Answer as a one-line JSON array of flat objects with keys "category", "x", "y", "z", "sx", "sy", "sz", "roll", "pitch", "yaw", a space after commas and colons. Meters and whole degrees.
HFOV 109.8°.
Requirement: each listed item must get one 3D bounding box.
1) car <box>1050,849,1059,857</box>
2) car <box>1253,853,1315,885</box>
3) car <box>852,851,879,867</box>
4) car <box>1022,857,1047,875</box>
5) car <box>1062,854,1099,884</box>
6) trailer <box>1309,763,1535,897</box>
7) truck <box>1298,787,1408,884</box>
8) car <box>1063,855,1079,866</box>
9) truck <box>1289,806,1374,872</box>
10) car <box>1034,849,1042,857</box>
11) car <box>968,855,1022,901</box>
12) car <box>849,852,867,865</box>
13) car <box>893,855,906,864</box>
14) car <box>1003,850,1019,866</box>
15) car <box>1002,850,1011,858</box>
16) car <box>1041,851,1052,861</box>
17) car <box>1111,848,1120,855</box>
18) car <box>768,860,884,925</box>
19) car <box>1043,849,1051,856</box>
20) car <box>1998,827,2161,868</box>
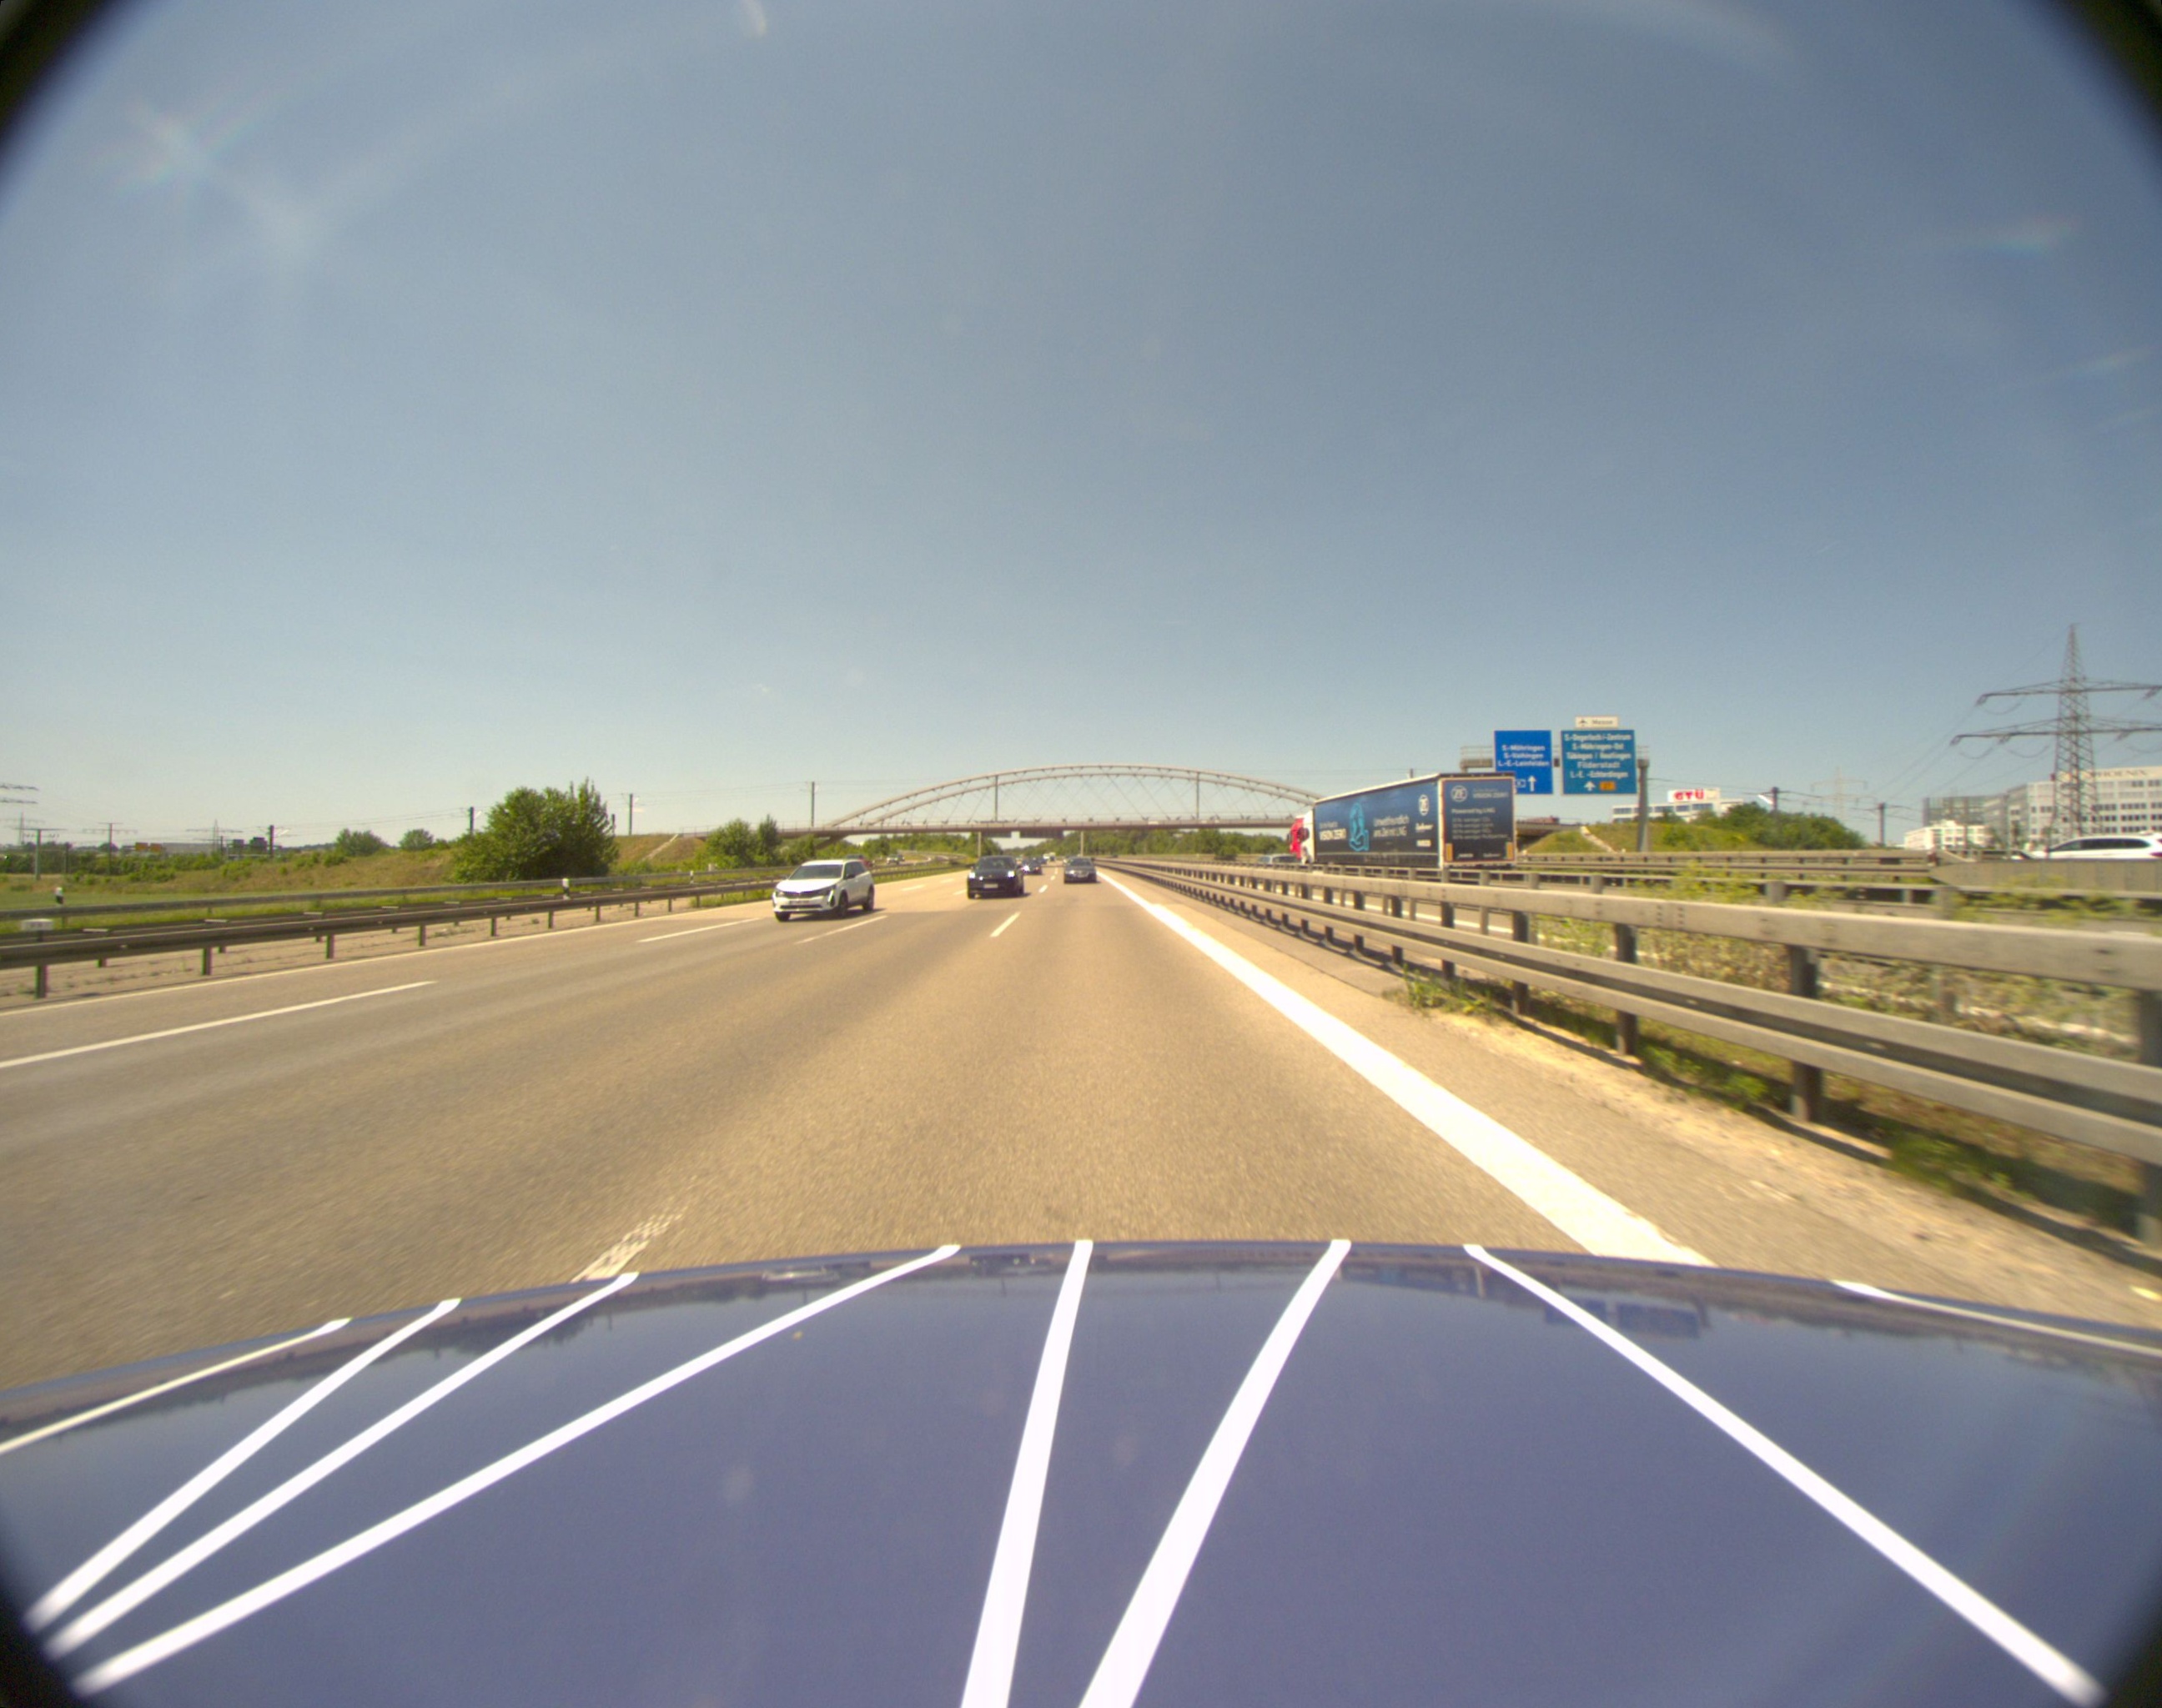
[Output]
[{"category": "car", "x": -6.548, "y": -0.226, "z": 189.145, "sx": 1.998, "sy": 1.849, "sz": 4.000, "roll": -2, "pitch": 1, "yaw": 1}, {"category": "car", "x": 9.994, "y": 0.709, "z": 37.752, "sx": 1.872, "sy": 1.455, "sz": 4.638, "roll": -1, "pitch": 0, "yaw": 1}, {"category": "car", "x": -22.047, "y": 0.512, "z": 77.750, "sx": 1.704, "sy": 1.566, "sz": 4.126, "roll": -2, "pitch": 1, "yaw": -3}, {"category": "car", "x": -3.914, "y": 0.981, "z": 64.237, "sx": 1.932, "sy": 1.390, "sz": 4.116, "roll": -2, "pitch": 1, "yaw": -2}, {"category": "car", "x": 0.013, "y": 0.778, "z": 42.730, "sx": 1.931, "sy": 1.499, "sz": 4.391, "roll": -2, "pitch": 1, "yaw": 1}, {"category": "trailer", "x": 13.363, "y": -0.840, "z": 32.184, "sx": 2.953, "sy": 4.317, "sz": 14.618, "roll": -2, "pitch": 1, "yaw": 0}, {"category": "truck", "x": 13.390, "y": -0.870, "z": 38.111, "sx": 2.935, "sy": 4.319, "sz": 6.914, "roll": -2, "pitch": 1, "yaw": 0}, {"category": "car", "x": -1.359, "y": 0.853, "z": 102.705, "sx": 1.932, "sy": 1.390, "sz": 4.116, "roll": -2, "pitch": 1, "yaw": -3}, {"category": "truck", "x": 17.399, "y": -0.993, "z": 53.606, "sx": 2.588, "sy": 4.091, "sz": 10.347, "roll": -1, "pitch": 0, "yaw": 0}, {"category": "car", "x": -12.033, "y": -0.224, "z": 211.935, "sx": 1.998, "sy": 2.002, "sz": 4.000, "roll": -2, "pitch": 1, "yaw": 2}, {"category": "car", "x": -3.314, "y": 0.880, "z": 29.942, "sx": 1.932, "sy": 1.586, "sz": 4.130, "roll": -2, "pitch": 1, "yaw": -4}, {"category": "car", "x": -27.490, "y": 0.533, "z": 93.700, "sx": 1.705, "sy": 1.566, "sz": 4.124, "roll": -2, "pitch": 1, "yaw": -10}, {"category": "car", "x": -31.488, "y": 0.956, "z": 131.932, "sx": 1.705, "sy": 1.566, "sz": 4.125, "roll": -2, "pitch": 1, "yaw": -8}, {"category": "car", "x": -8.611, "y": 0.468, "z": 93.736, "sx": 1.809, "sy": 1.908, "sz": 4.293, "roll": -2, "pitch": 1, "yaw": -2}, {"category": "car", "x": -21.483, "y": 0.007, "z": 217.998, "sx": 1.998, "sy": 2.002, "sz": 4.000, "roll": -2, "pitch": 1, "yaw": 2}, {"category": "car", "x": -6.315, "y": 0.370, "z": 138.427, "sx": 1.925, "sy": 1.761, "sz": 3.999, "roll": -2, "pitch": 1, "yaw": -1}, {"category": "car", "x": 8.011, "y": -0.608, "z": 177.463, "sx": 1.662, "sy": 1.455, "sz": 4.444, "roll": -2, "pitch": 1, "yaw": 0}, {"category": "car", "x": -7.326, "y": 1.042, "z": 22.364, "sx": 1.748, "sy": 1.582, "sz": 4.619, "roll": -2, "pitch": 1, "yaw": 1}, {"category": "car", "x": -9.908, "y": -0.432, "z": 221.357, "sx": 1.998, "sy": 2.002, "sz": 4.000, "roll": -2, "pitch": 1, "yaw": 2}, {"category": "car", "x": 32.670, "y": -0.209, "z": 24.186, "sx": 1.682, "sy": 1.196, "sz": 4.402, "roll": -1, "pitch": 0, "yaw": 1}]
